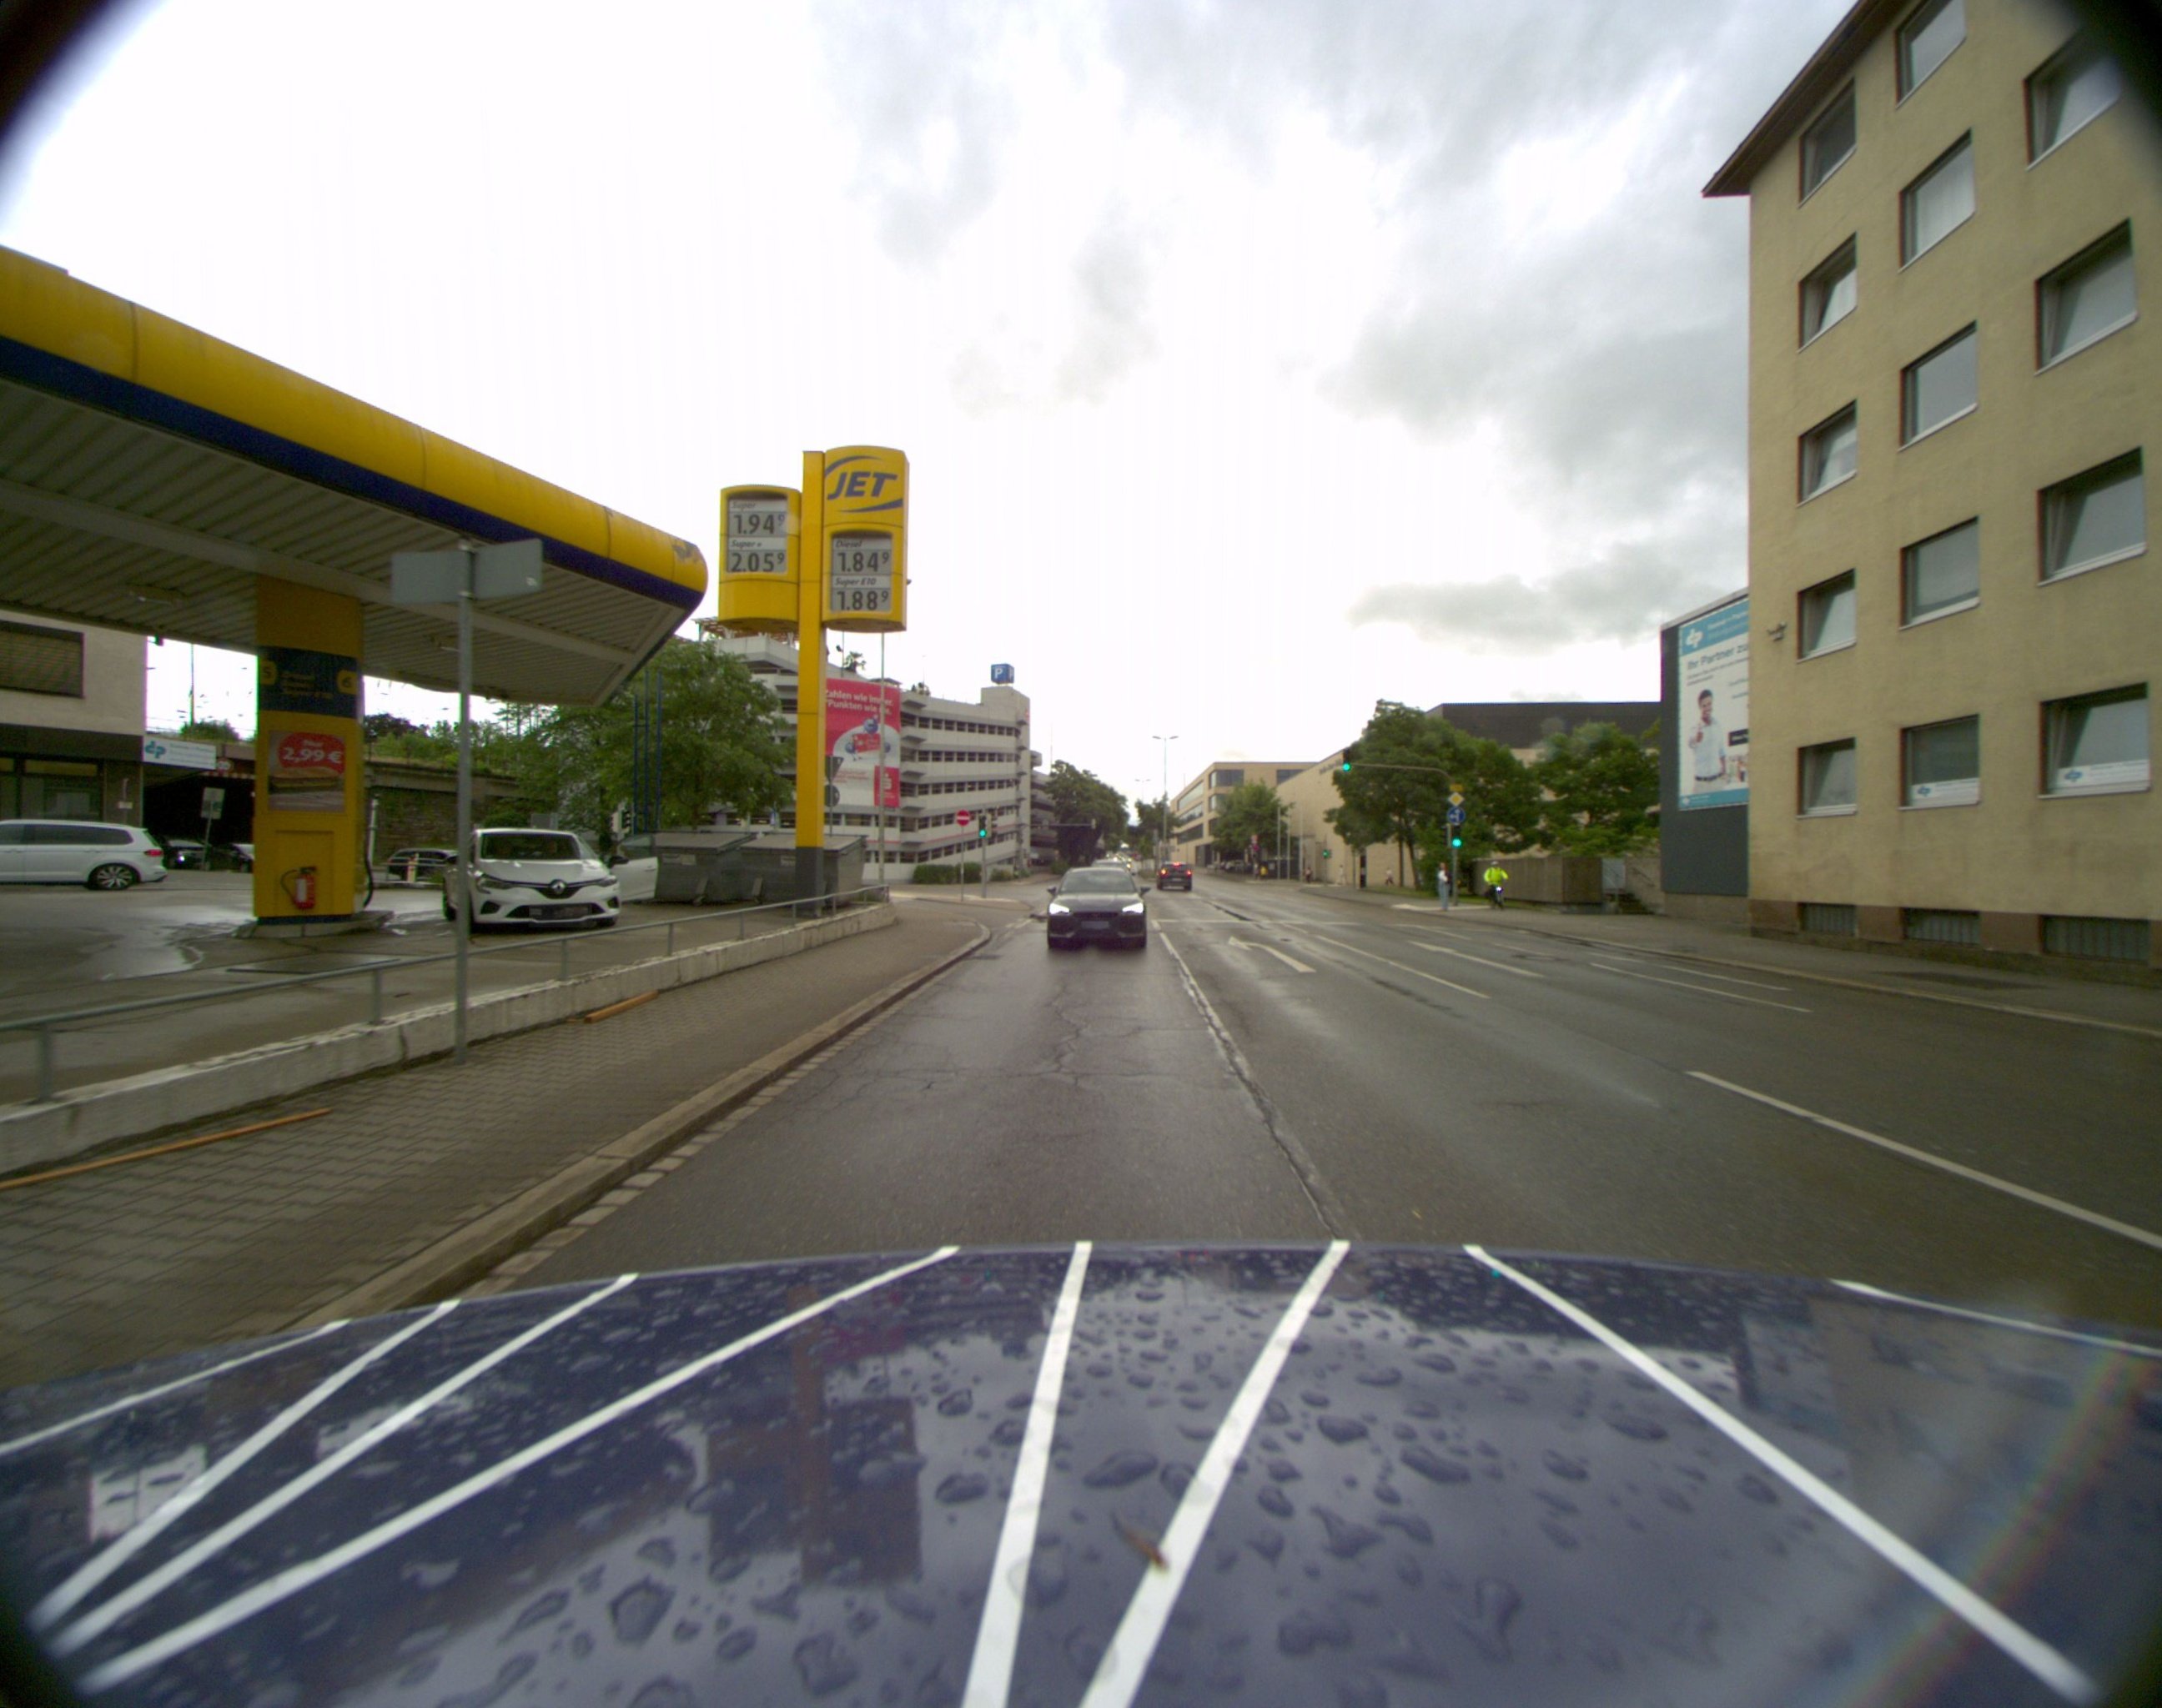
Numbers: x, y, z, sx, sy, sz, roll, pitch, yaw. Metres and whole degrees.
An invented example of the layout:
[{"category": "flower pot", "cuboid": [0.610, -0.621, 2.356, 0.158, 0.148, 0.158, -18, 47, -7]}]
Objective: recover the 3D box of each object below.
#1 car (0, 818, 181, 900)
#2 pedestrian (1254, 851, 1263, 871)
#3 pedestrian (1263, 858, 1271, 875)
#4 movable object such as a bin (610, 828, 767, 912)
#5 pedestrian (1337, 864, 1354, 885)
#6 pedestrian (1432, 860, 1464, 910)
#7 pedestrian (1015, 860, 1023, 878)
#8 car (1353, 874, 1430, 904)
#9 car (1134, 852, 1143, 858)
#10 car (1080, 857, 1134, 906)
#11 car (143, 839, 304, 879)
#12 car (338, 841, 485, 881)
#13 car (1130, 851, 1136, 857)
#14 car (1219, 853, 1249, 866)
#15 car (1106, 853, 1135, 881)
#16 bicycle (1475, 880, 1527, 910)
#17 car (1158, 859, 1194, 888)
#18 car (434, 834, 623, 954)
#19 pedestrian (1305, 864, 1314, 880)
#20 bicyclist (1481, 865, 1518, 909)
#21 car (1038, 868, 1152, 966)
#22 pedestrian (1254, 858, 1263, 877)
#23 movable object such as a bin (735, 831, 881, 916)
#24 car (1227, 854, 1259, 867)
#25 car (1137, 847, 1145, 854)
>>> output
[{"category": "car", "cuboid": [-23.649, 0.148, 16.880, 1.995, 1.715, 4.410, -3, -3, 31]}, {"category": "pedestrian", "cuboid": [16.303, 0.654, 69.823, 0.595, 1.761, 0.692, -3, 1, 2]}, {"category": "pedestrian", "cuboid": [17.414, 1.179, 71.076, 0.595, 1.507, 0.692, -3, 1, 2]}, {"category": "movable object such as a bin", "cuboid": [-7.711, 0.286, 15.107, 2.160, 1.546, 1.773, 1, 1, 4]}, {"category": "pedestrian", "cuboid": [21.927, 1.715, 63.008, 1.113, 1.690, 0.807, -3, 1, 1]}, {"category": "pedestrian", "cuboid": [12.836, 1.065, 26.607, 0.719, 1.680, 0.811, -3, 1, 5]}, {"category": "pedestrian", "cuboid": [-6.071, 1.470, 74.359, 0.583, 1.650, 0.519, 2, 2, 20]}, {"category": "car", "cuboid": [22.893, 2.597, 56.207, 4.789, 1.914, 2.000, 3, 0, 0]}, {"category": "car", "cuboid": [13.787, 0.238, 182.307, 1.675, 1.461, 4.301, 1, 0, 1]}, {"category": "car", "cuboid": [0.975, 1.005, 29.215, 1.846, 1.647, 4.000, -3, 0, 1]}, {"category": "car", "cuboid": [-40.193, 0.213, 35.719, 5.036, 1.622, 1.999, -3, 0, -3]}, {"category": "car", "cuboid": [-31.708, 0.327, 36.113, 5.036, 1.622, 1.999, -3, 0, -3]}, {"category": "car", "cuboid": [16.073, 0.017, 236.459, 1.675, 1.598, 4.301, 2, 0, 1]}, {"category": "car", "cuboid": [21.250, 0.804, 105.619, 3.995, 1.576, 2.001, -3, 0, 7]}, {"category": "car", "cuboid": [2.841, 0.873, 53.900, 1.804, 1.818, 3.950, -3, 0, 4]}, {"category": "bicycle", "cuboid": [14.484, 1.391, 26.273, 0.887, 0.902, 1.867, -3, 0, 5]}, {"category": "car", "cuboid": [5.447, 1.088, 43.905, 1.812, 1.585, 4.296, -1, 0, 4]}, {"category": "car", "cuboid": [-8.226, 0.447, 11.170, 1.749, 1.434, 3.988, 0, 2, -43]}, {"category": "pedestrian", "cuboid": [19.719, 1.524, 65.621, 0.622, 1.368, 0.475, -3, 1, 4]}, {"category": "bicyclist", "cuboid": [14.474, 1.130, 26.300, 0.844, 1.434, 0.813, -3, 1, 5]}, {"category": "car", "cuboid": [0.231, 1.032, 14.255, 1.739, 1.380, 4.582, -3, 0, 0]}, {"category": "pedestrian", "cuboid": [16.921, 1.304, 72.492, 0.595, 1.721, 0.692, -3, 1, -2]}, {"category": "movable object such as a bin", "cuboid": [-5.314, 0.366, 15.019, 2.160, 1.565, 1.773, 0, 1, 4]}, {"category": "car", "cuboid": [21.972, 0.889, 102.999, 3.995, 1.576, 2.001, -3, 0, 7]}, {"category": "car", "cuboid": [16.056, -0.965, 204.066, 1.854, 1.841, 4.301, 2, 0, 1]}]
